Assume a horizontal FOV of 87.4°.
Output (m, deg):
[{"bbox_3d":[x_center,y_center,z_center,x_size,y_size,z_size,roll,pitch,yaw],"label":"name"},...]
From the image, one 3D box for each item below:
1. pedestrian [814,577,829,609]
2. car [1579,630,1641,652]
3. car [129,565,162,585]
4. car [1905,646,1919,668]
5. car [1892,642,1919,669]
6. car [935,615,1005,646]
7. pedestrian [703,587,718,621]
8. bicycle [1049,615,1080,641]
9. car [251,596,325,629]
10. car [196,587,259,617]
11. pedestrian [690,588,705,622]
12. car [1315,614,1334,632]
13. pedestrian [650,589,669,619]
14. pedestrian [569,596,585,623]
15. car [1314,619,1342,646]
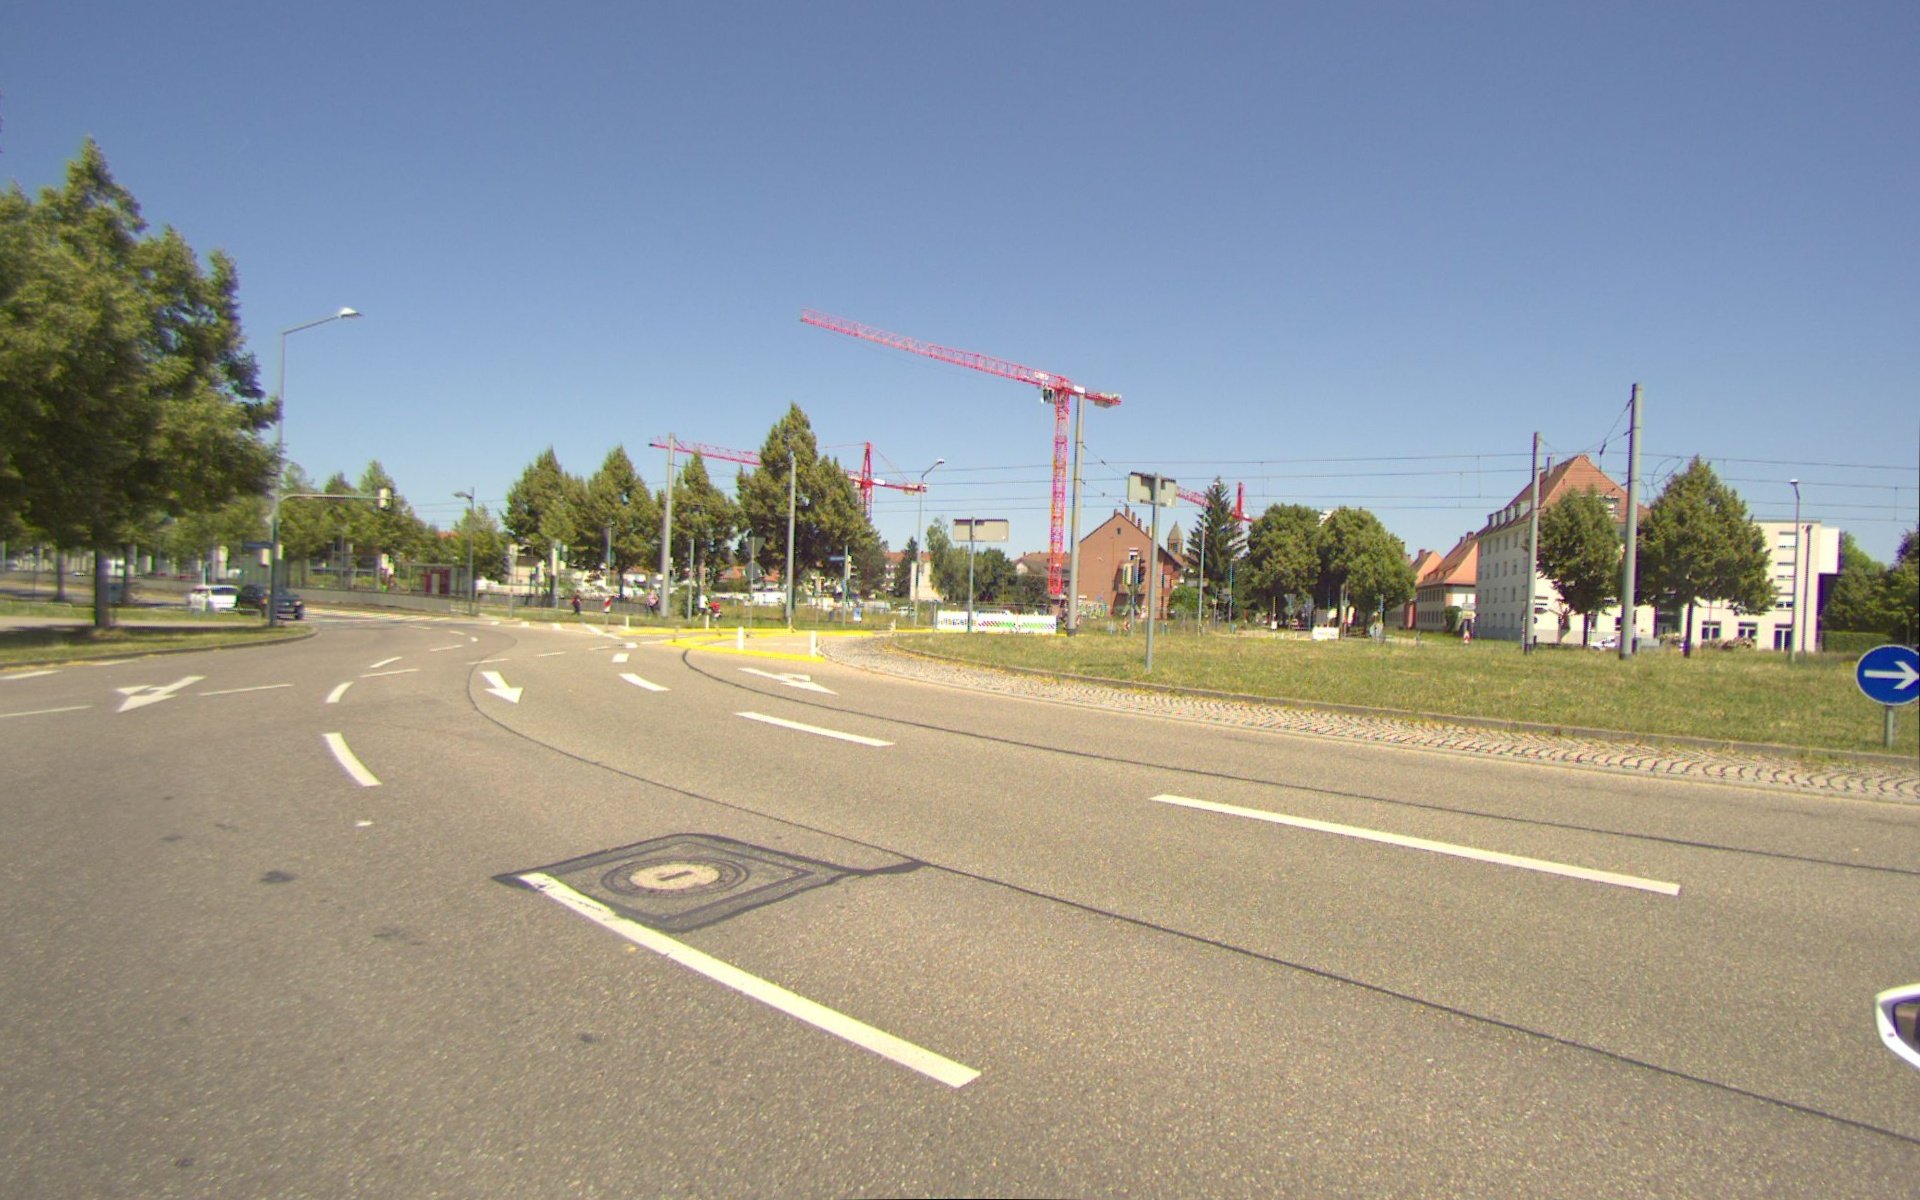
[{"bbox_3d":[-9.077,-0.429,65.809,0.593,2.040,0.593,4,0,35],"label":"pedestrian"},{"bbox_3d":[51.860,3.273,80.159,3.825,1.439,1.716,4,0,23],"label":"car"},{"bbox_3d":[-94.020,-2.918,115.944,3.934,2.040,1.993,4,0,36],"label":"car"},{"bbox_3d":[91.759,5.478,94.419,1.984,2.040,3.953,4,0,-40],"label":"car"},{"bbox_3d":[65.372,3.811,67.168,3.923,1.706,1.999,4,0,23],"label":"car"},{"bbox_3d":[0.609,1.790,59.699,3.920,1.483,2.001,4,0,4],"label":"car"},{"bbox_3d":[-14.490,0.238,58.396,0.617,1.960,0.646,2,0,1],"label":"pedestrian"},{"bbox_3d":[7.480,2.004,72.204,2.045,1.707,0.560,4,0,-2],"label":"bicycle"},{"bbox_3d":[-30.831,0.574,46.089,3.509,1.228,1.735,4,0,37],"label":"car"},{"bbox_3d":[-35.519,0.089,48.688,3.270,1.241,1.571,4,0,37],"label":"car"},{"bbox_3d":[-15.249,0.291,58.384,0.617,1.960,0.646,2,0,1],"label":"pedestrian"},{"bbox_3d":[45.026,2.888,124.172,1.961,2.040,3.999,4,0,22],"label":"car"},{"bbox_3d":[-17.648,0.235,59.006,0.756,1.661,0.771,3,1,-43],"label":"pedestrian"},{"bbox_3d":[-20.544,0.491,53.883,0.535,1.425,0.595,2,0,38],"label":"pedestrian"},{"bbox_3d":[31.098,2.729,84.766,1.961,2.040,3.999,4,0,22],"label":"car"}]
